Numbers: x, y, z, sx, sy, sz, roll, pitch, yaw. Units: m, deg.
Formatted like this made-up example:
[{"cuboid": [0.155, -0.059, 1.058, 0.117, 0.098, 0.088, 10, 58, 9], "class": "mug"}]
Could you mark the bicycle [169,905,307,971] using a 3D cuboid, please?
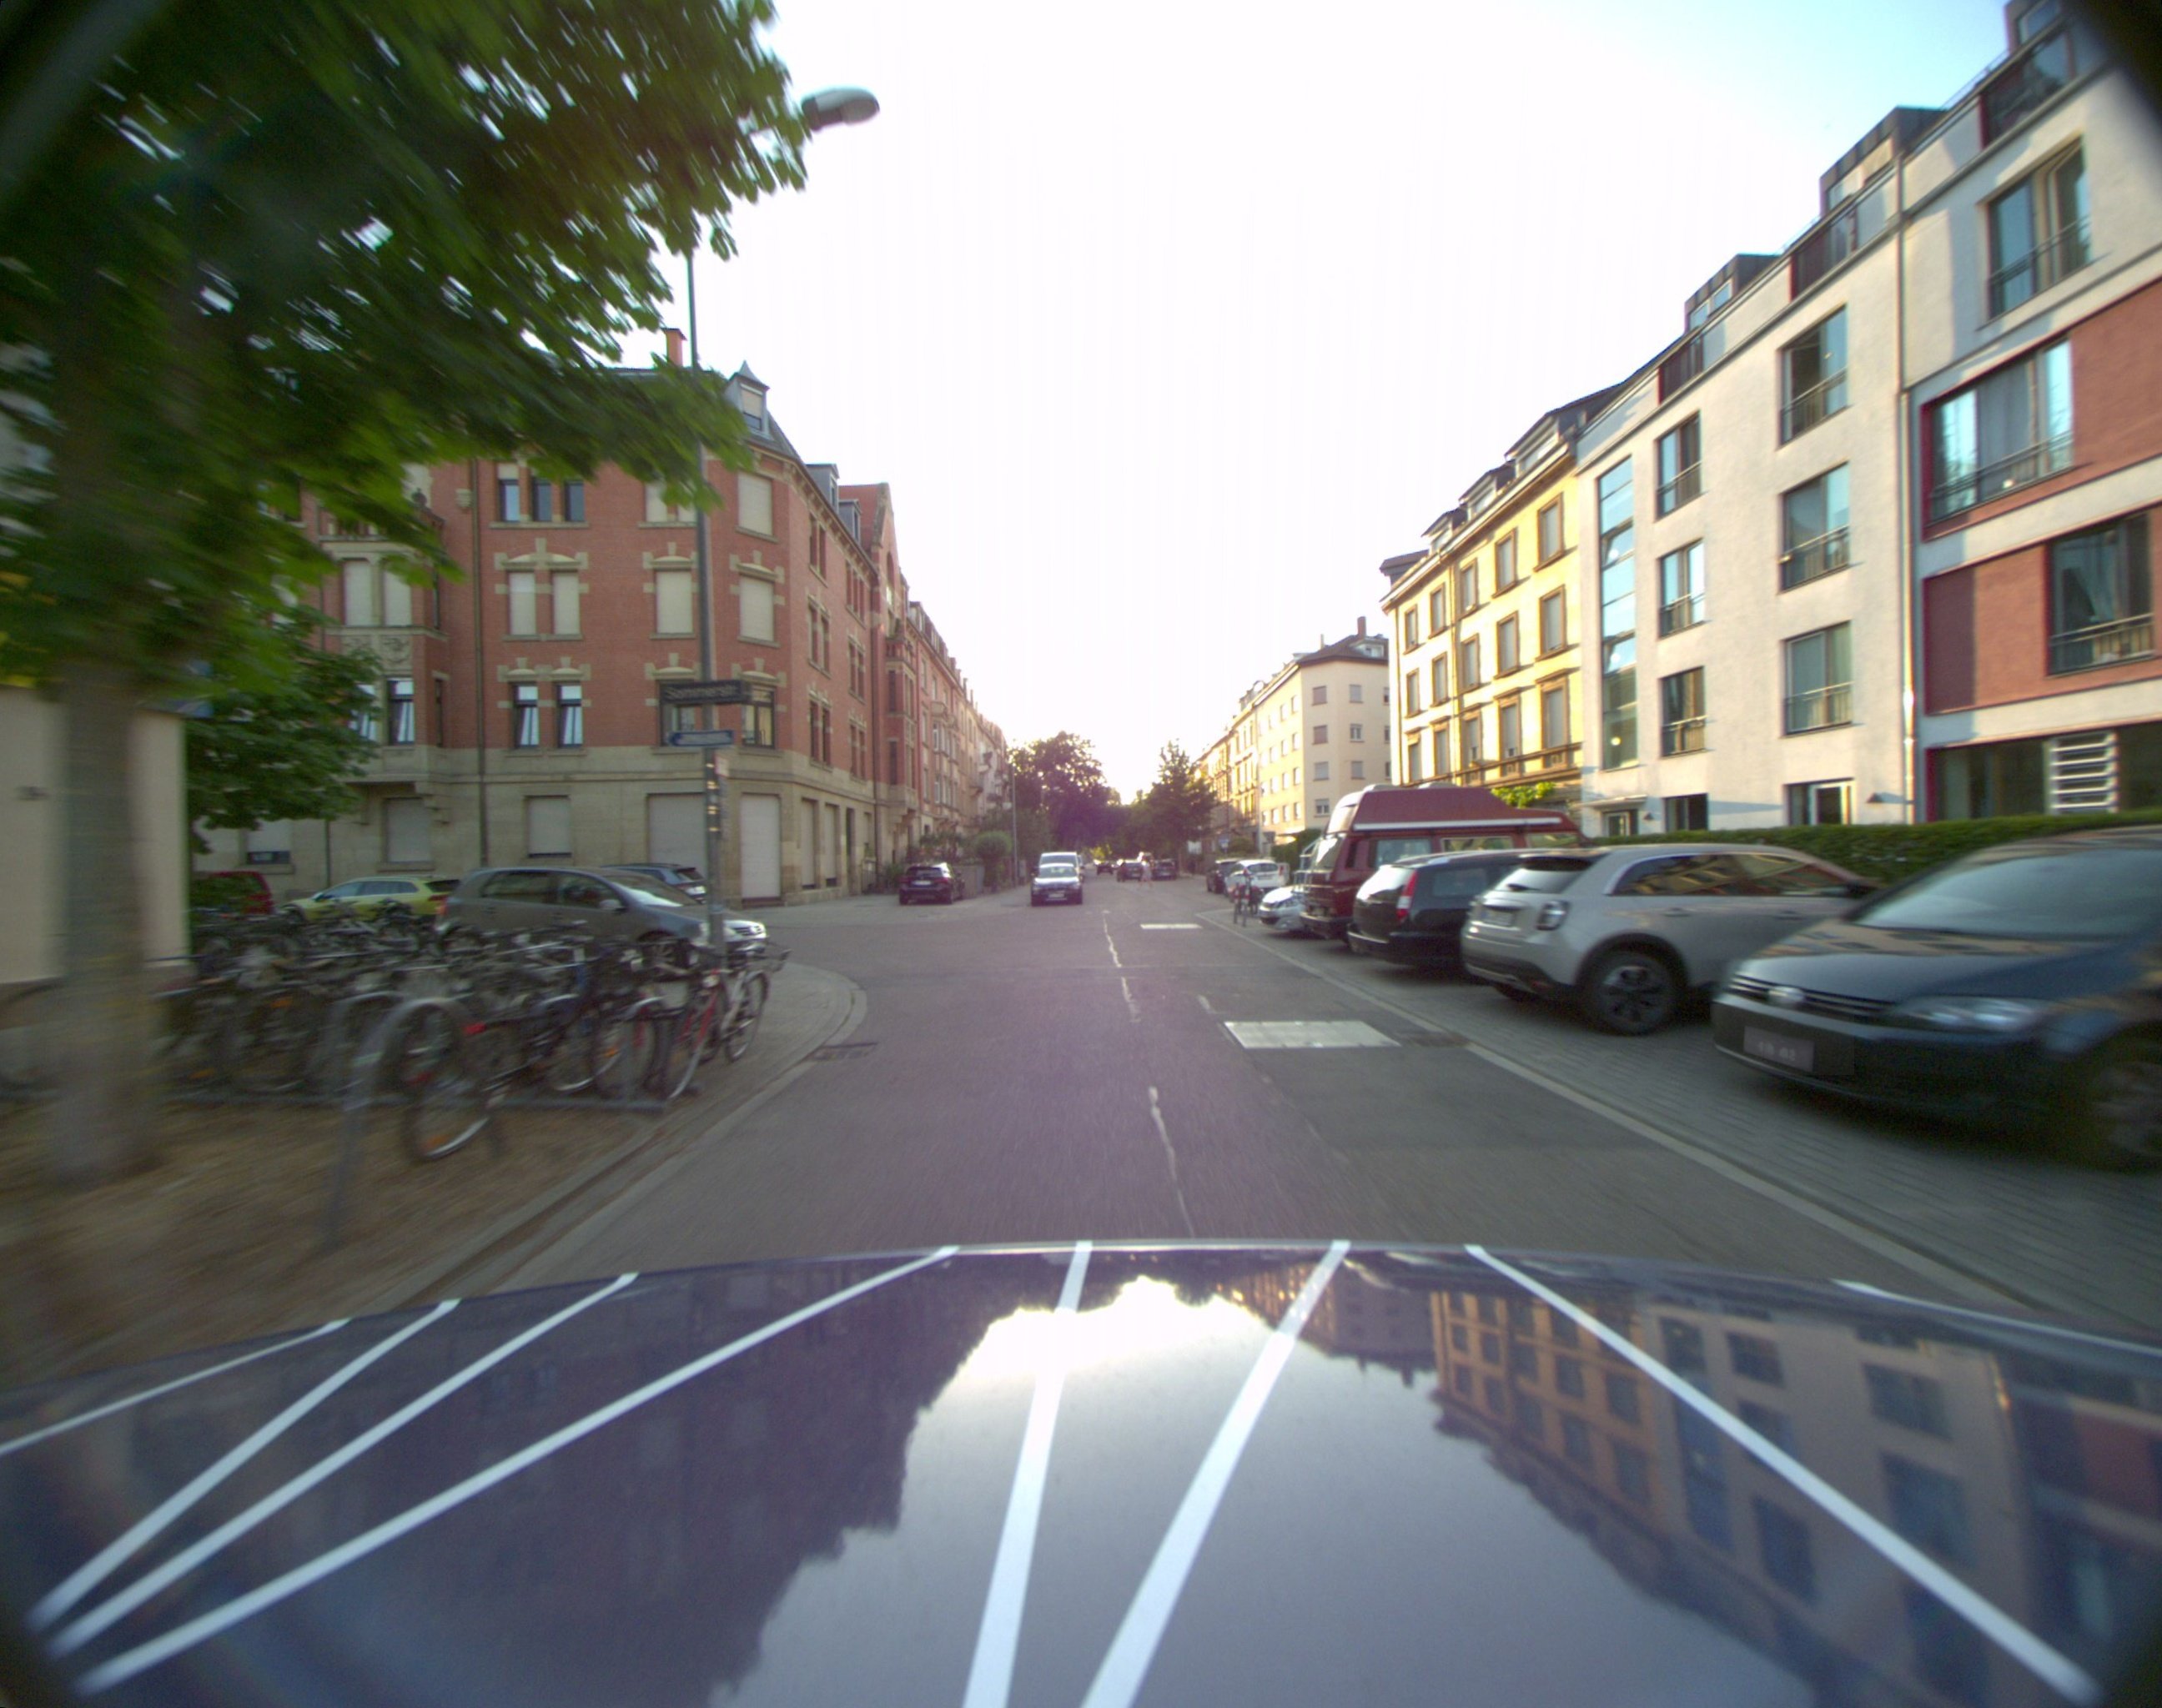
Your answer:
[{"cuboid": [-14.780, 1.460, 13.343, 1.821, 1.056, 0.482, -2, 1, -1], "class": "bicycle"}]

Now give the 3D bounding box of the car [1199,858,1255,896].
[{"cuboid": [6.489, 0.990, 34.046, 1.597, 1.513, 3.737, -3, 0, -2], "class": "car"}]

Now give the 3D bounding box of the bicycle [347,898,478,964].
[{"cuboid": [-11.758, 1.350, 13.391, 1.821, 1.056, 0.482, -2, 1, -1], "class": "bicycle"}]

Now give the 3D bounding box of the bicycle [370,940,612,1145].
[{"cuboid": [-4.067, 1.224, 5.423, 0.357, 1.018, 1.784, -2, 0, -2], "class": "bicycle"}]

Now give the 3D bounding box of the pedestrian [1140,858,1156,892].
[{"cuboid": [3.160, 0.974, 35.791, 0.601, 1.564, 0.639, -2, 0, -6], "class": "pedestrian"}]

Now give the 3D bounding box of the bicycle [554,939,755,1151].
[{"cuboid": [-2.928, 1.233, 5.448, 0.357, 1.018, 1.971, -2, 0, -2], "class": "bicycle"}]

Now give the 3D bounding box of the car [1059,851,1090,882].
[{"cuboid": [-0.495, 0.854, 52.995, 1.999, 2.002, 3.999, -2, 0, -2], "class": "car"}]

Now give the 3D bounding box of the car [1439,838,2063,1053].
[{"cuboid": [5.620, 0.720, 6.806, 3.958, 1.531, 1.755, -2, 0, 2], "class": "car"}]

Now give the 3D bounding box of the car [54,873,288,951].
[{"cuboid": [-24.259, 1.504, 20.379, 3.876, 1.848, 1.843, -2, 0, -2], "class": "car"}]

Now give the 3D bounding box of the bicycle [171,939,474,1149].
[{"cuboid": [-5.144, 1.212, 5.336, 0.357, 1.018, 1.784, -2, 0, -2], "class": "bicycle"}]

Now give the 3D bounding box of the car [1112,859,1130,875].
[{"cuboid": [5.389, 1.710, 103.197, 1.999, 2.002, 3.999, -2, 0, -2], "class": "car"}]

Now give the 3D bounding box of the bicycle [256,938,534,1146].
[{"cuboid": [-4.675, 1.203, 5.360, 0.357, 1.018, 1.784, -2, 0, -2], "class": "bicycle"}]

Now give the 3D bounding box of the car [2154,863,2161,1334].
[{"cuboid": [5.508, 0.705, 1.482, 4.273, 1.485, 1.788, -2, 0, 0], "class": "car"}]

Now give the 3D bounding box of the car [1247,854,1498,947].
[{"cuboid": [5.403, 0.819, 14.369, 3.989, 1.408, 1.803, -3, 0, -7], "class": "car"}]

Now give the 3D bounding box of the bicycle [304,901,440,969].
[{"cuboid": [-11.982, 1.362, 12.865, 1.821, 1.056, 0.447, -2, 1, -1], "class": "bicycle"}]

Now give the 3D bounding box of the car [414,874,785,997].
[{"cuboid": [-6.410, 1.037, 10.412, 3.995, 1.482, 1.805, 0, -1, 4], "class": "car"}]

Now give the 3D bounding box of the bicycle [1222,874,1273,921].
[{"cuboid": [4.252, 1.090, 19.583, 0.805, 1.047, 2.415, -2, 0, 1], "class": "bicycle"}]

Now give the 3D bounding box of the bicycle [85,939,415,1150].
[{"cuboid": [-5.620, 1.209, 5.318, 0.357, 1.018, 1.784, -2, 0, -2], "class": "bicycle"}]

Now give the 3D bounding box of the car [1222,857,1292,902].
[{"cuboid": [6.643, 0.918, 29.059, 1.679, 1.502, 3.582, -3, 0, -2], "class": "car"}]

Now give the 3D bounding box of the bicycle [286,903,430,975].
[{"cuboid": [-11.680, 1.360, 12.306, 1.821, 1.056, 0.477, -2, 1, -1], "class": "bicycle"}]

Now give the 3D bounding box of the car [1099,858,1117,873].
[{"cuboid": [3.074, 1.300, 86.937, 1.891, 1.513, 4.000, -2, 0, 0], "class": "car"}]

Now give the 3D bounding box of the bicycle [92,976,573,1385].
[{"cuboid": [-2.995, 1.190, 3.332, 0.357, 1.018, 1.784, -2, 0, -2], "class": "bicycle"}]

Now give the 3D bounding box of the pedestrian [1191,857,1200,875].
[{"cuboid": [9.723, 0.989, 64.471, 0.645, 1.525, 0.638, -1, 0, 2], "class": "pedestrian"}]

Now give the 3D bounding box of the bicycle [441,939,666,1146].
[{"cuboid": [-3.643, 1.225, 5.443, 0.357, 1.018, 1.827, -2, 0, -2], "class": "bicycle"}]

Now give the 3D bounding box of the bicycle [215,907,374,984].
[{"cuboid": [-12.023, 1.392, 11.648, 1.821, 1.056, 0.529, -2, 1, -1], "class": "bicycle"}]

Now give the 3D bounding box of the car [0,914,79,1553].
[{"cuboid": [-4.696, 1.018, 1.114, 4.043, 1.557, 1.721, -2, 0, -1], "class": "car"}]

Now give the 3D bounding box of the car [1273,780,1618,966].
[{"cuboid": [5.486, 0.274, 11.900, 4.412, 2.541, 1.932, -2, 0, 1], "class": "car"}]

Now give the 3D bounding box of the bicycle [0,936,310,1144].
[{"cuboid": [-6.450, 1.181, 5.290, 0.357, 1.018, 1.784, -2, 0, -2], "class": "bicycle"}]

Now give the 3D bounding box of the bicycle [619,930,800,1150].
[{"cuboid": [-2.553, 1.194, 5.458, 0.357, 1.093, 1.971, -2, 0, -2], "class": "bicycle"}]

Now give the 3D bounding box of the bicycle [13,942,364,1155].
[{"cuboid": [-6.022, 1.232, 5.304, 0.357, 1.018, 1.784, -2, 0, -2], "class": "bicycle"}]

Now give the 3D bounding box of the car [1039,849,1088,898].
[{"cuboid": [-0.779, 0.791, 32.762, 1.939, 1.893, 4.054, -2, 0, -2], "class": "car"}]

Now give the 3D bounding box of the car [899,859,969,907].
[{"cuboid": [-5.187, 0.977, 27.257, 1.800, 1.515, 3.999, -2, 0, -2], "class": "car"}]

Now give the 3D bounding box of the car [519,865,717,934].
[{"cuboid": [-12.743, 1.226, 21.126, 4.345, 1.656, 1.779, -2, 0, -2], "class": "car"}]

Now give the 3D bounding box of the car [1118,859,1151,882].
[{"cuboid": [3.565, 1.074, 51.199, 1.762, 1.478, 3.783, 0, 0, -2], "class": "car"}]

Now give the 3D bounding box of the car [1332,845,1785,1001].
[{"cuboid": [5.508, 0.751, 9.151, 4.347, 1.515, 1.705, -2, 0, -1], "class": "car"}]

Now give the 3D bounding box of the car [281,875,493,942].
[{"cuboid": [-18.848, 1.452, 20.788, 3.998, 1.556, 1.830, -2, 0, -2], "class": "car"}]

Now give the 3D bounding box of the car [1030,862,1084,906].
[{"cuboid": [-0.853, 1.024, 27.002, 1.733, 1.367, 3.762, -2, 0, -2], "class": "car"}]

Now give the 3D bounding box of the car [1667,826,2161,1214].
[{"cuboid": [5.791, 0.675, 4.077, 3.896, 1.608, 1.700, -2, 0, 2], "class": "car"}]
